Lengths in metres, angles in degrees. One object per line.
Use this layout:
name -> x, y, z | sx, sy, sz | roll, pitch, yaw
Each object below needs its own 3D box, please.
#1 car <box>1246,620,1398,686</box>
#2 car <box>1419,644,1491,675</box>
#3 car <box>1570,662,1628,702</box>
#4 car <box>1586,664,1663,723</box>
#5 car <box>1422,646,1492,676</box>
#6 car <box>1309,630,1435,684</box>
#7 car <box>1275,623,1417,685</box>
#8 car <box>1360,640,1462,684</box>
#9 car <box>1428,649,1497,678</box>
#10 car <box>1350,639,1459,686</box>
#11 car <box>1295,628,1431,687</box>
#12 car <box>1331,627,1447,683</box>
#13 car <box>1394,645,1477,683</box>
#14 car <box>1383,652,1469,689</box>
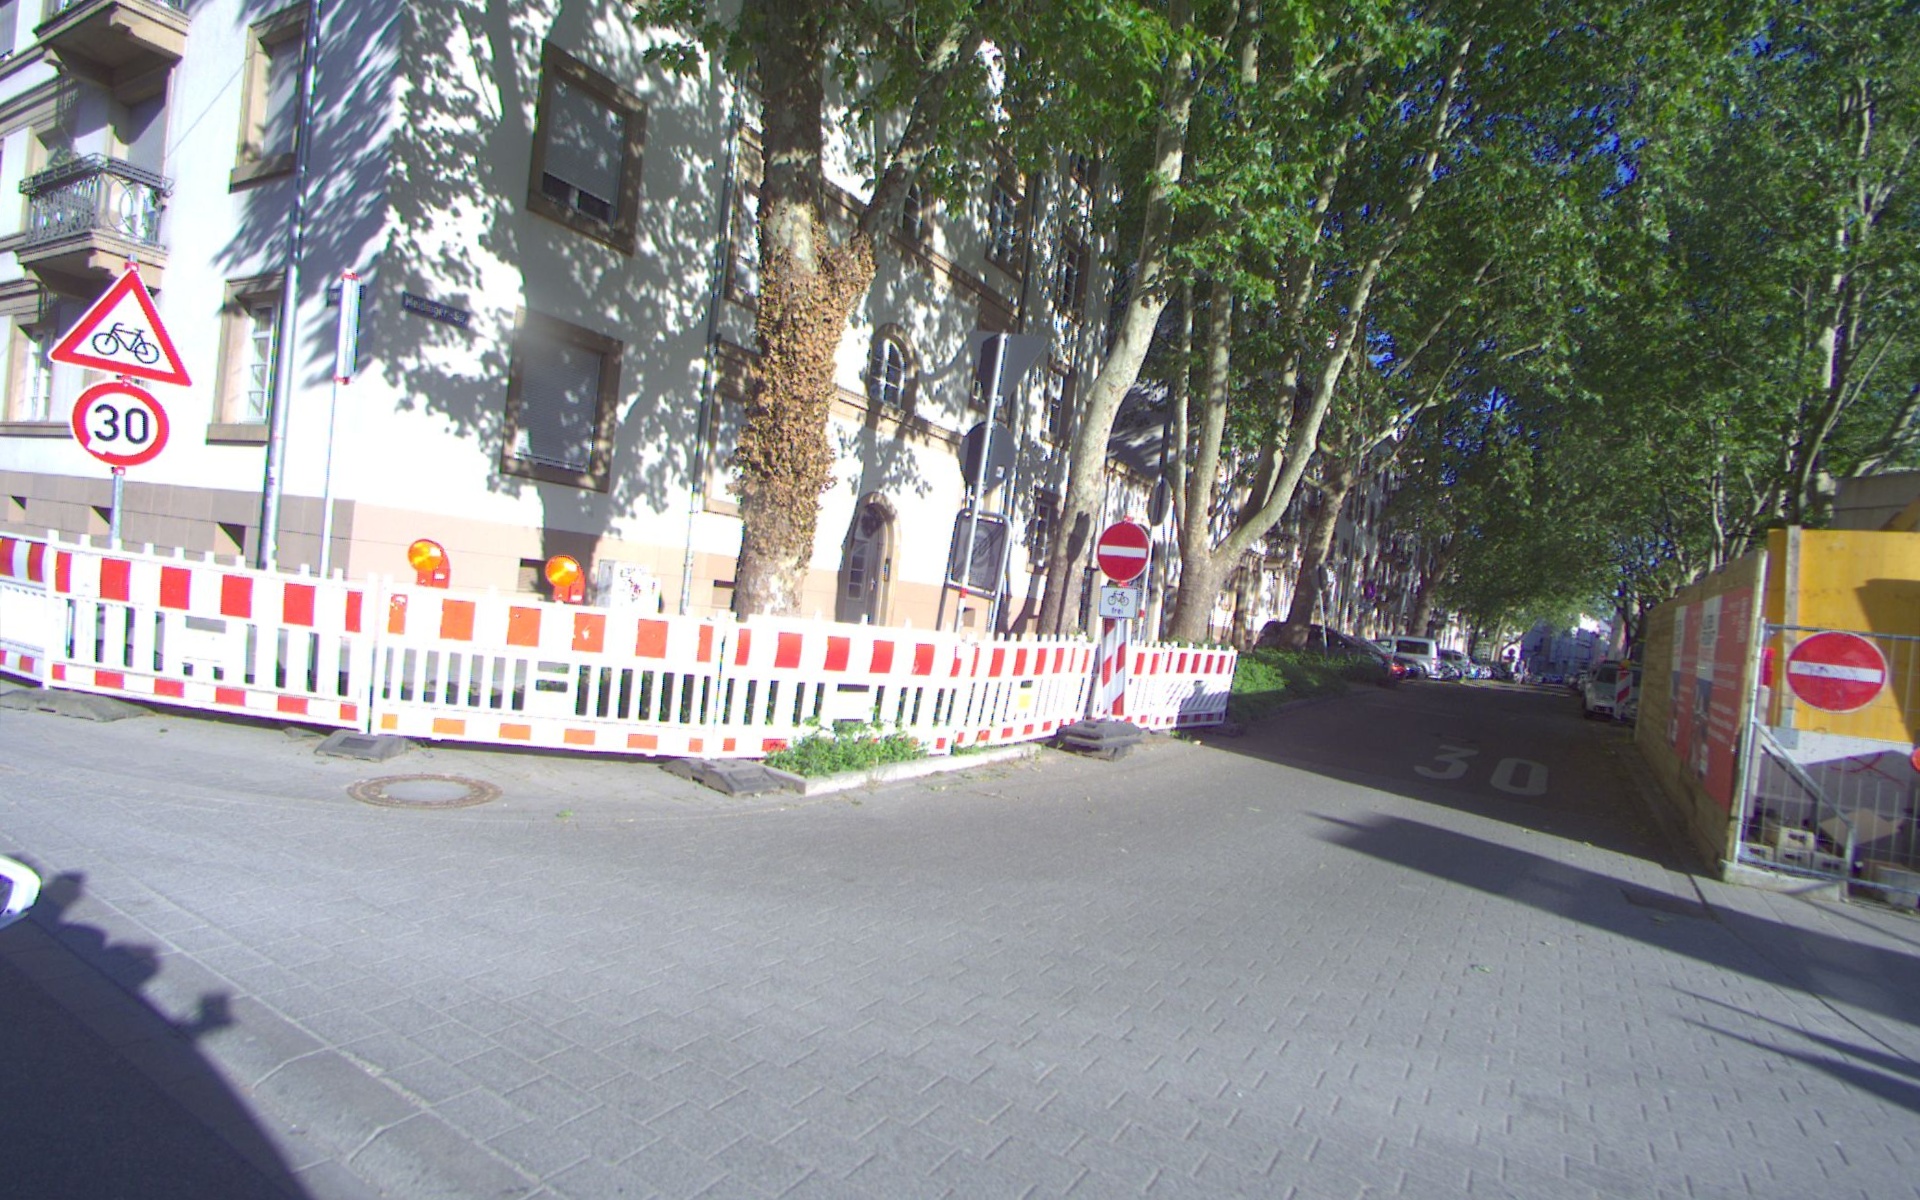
car -> 11.876, 1.713, 33.090 | 4.295, 1.603, 1.867 | 7, 1, 32
car -> 34.714, 4.169, 70.582 | 4.295, 1.603, 1.867 | 7, 1, 32
car -> 25.210, 3.267, 39.729 | 1.699, 1.283, 3.992 | 7, -1, 32
car -> 20.112, 2.848, 30.556 | 1.699, 1.444, 3.993 | 7, -1, 32
car -> 35.911, 4.414, 72.697 | 4.295, 1.603, 1.867 | 7, 1, 32
car -> 16.472, 2.265, 40.290 | 4.295, 1.603, 1.867 | 7, 1, 32
car -> 13.602, 1.887, 35.506 | 4.295, 1.603, 1.867 | 7, 1, 32
car -> 22.447, 3.063, 50.119 | 4.295, 1.603, 1.867 | 7, 1, 32
car -> 37.536, 4.733, 75.195 | 4.295, 1.603, 1.867 | 7, 1, 32
car -> 20.713, 2.880, 46.922 | 4.295, 1.603, 1.867 | 7, 1, 32
car -> 14.960, 2.123, 37.373 | 4.295, 1.603, 1.867 | 7, 1, 32
car -> 18.858, 2.412, 44.295 | 4.295, 1.862, 1.995 | 7, 1, 32
car -> 29.391, 3.952, 62.167 | 4.295, 1.783, 1.867 | 7, 1, 32
car -> 27.749, 4.167, 59.950 | 4.295, 1.603, 1.867 | 7, 1, 32
